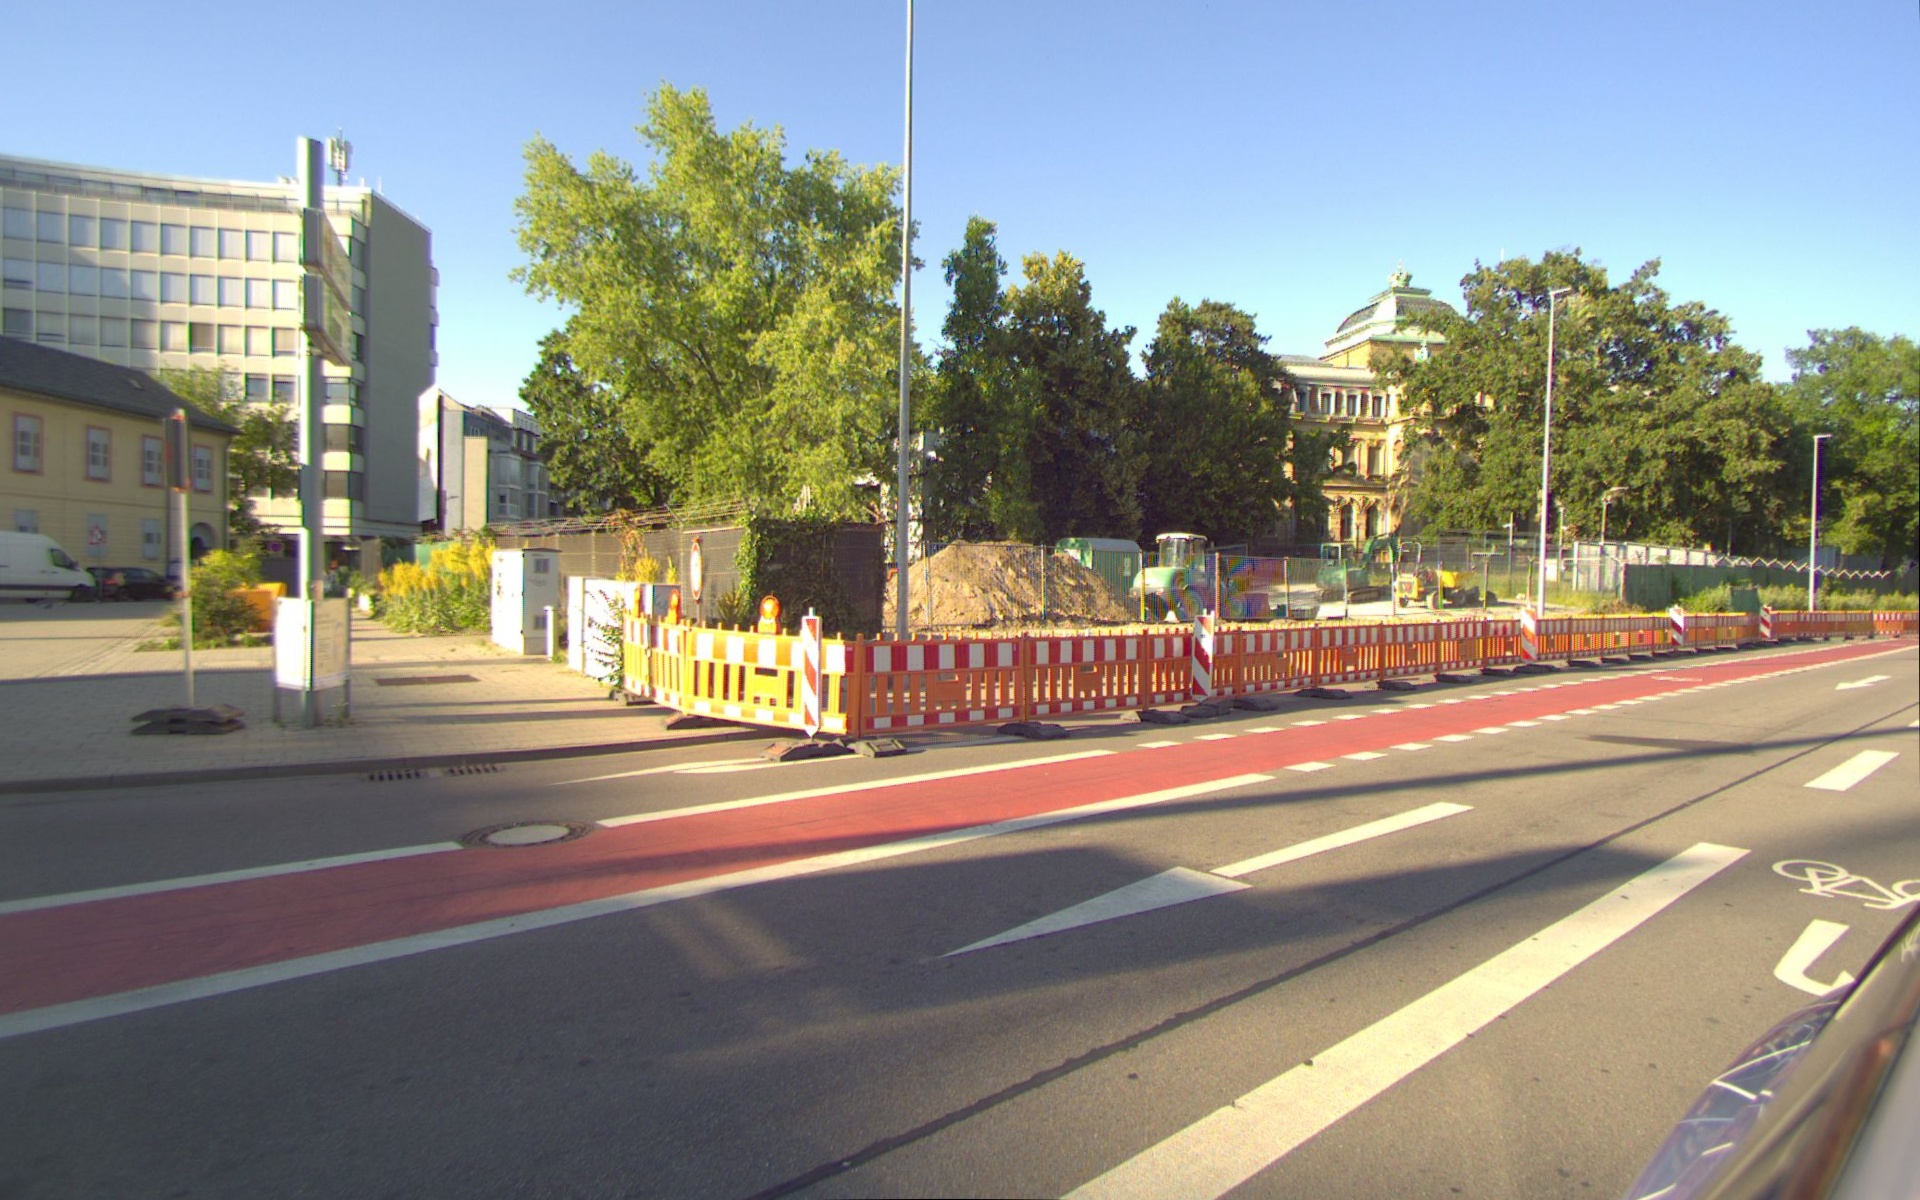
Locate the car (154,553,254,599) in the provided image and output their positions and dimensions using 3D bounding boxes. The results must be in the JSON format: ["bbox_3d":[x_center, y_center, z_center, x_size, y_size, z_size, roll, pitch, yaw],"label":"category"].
[{"bbox_3d":[-34.399,-1.086,46.172,1.682,2.005,3.761,0,0,1],"label":"car"}]

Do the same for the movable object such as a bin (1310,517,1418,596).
[{"bbox_3d":[18.155,-1.870,45.380,5.274,3.371,1.999,-1,0,-36],"label":"movable object such as a bin"}]

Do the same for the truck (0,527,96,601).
[{"bbox_3d":[-34.318,-1.255,36.058,2.258,2.581,5.638,0,0,1],"label":"truck"}]

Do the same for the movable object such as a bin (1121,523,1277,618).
[{"bbox_3d":[7.436,-0.873,31.299,4.920,2.717,1.999,-1,0,-36],"label":"movable object such as a bin"}]

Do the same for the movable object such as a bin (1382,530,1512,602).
[{"bbox_3d":[20.423,-1.365,42.360,5.750,2.852,2.002,-1,0,-30],"label":"movable object such as a bin"}]

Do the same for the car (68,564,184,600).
[{"bbox_3d":[-34.344,-0.733,41.817,1.682,1.382,3.761,0,0,1],"label":"car"}]
